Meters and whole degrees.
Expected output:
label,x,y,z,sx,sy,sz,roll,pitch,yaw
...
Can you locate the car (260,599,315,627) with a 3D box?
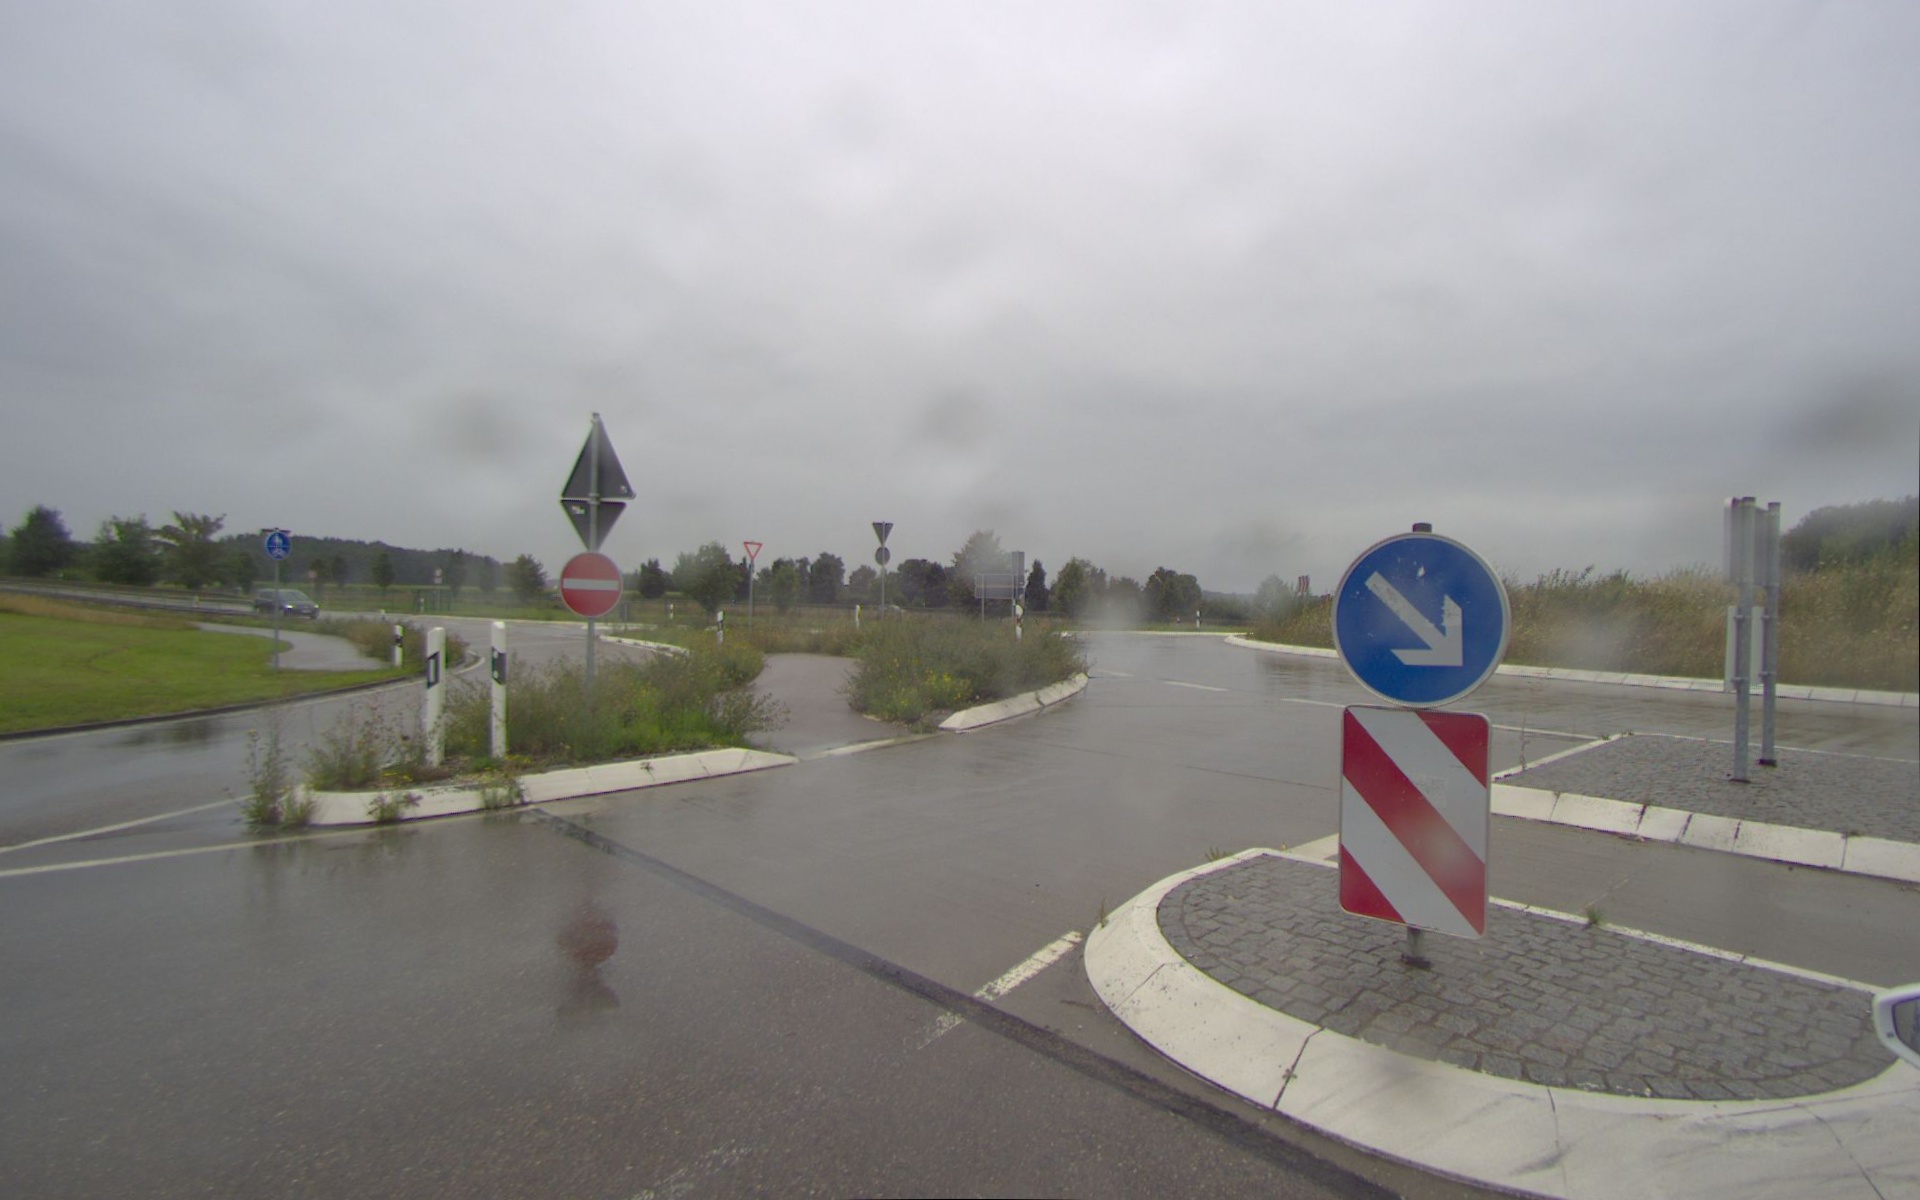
label,x,y,z,sx,sy,sz,roll,pitch,yaw
car,-38.350,0.734,57.288,3.698,1.472,1.580,1,-1,39
